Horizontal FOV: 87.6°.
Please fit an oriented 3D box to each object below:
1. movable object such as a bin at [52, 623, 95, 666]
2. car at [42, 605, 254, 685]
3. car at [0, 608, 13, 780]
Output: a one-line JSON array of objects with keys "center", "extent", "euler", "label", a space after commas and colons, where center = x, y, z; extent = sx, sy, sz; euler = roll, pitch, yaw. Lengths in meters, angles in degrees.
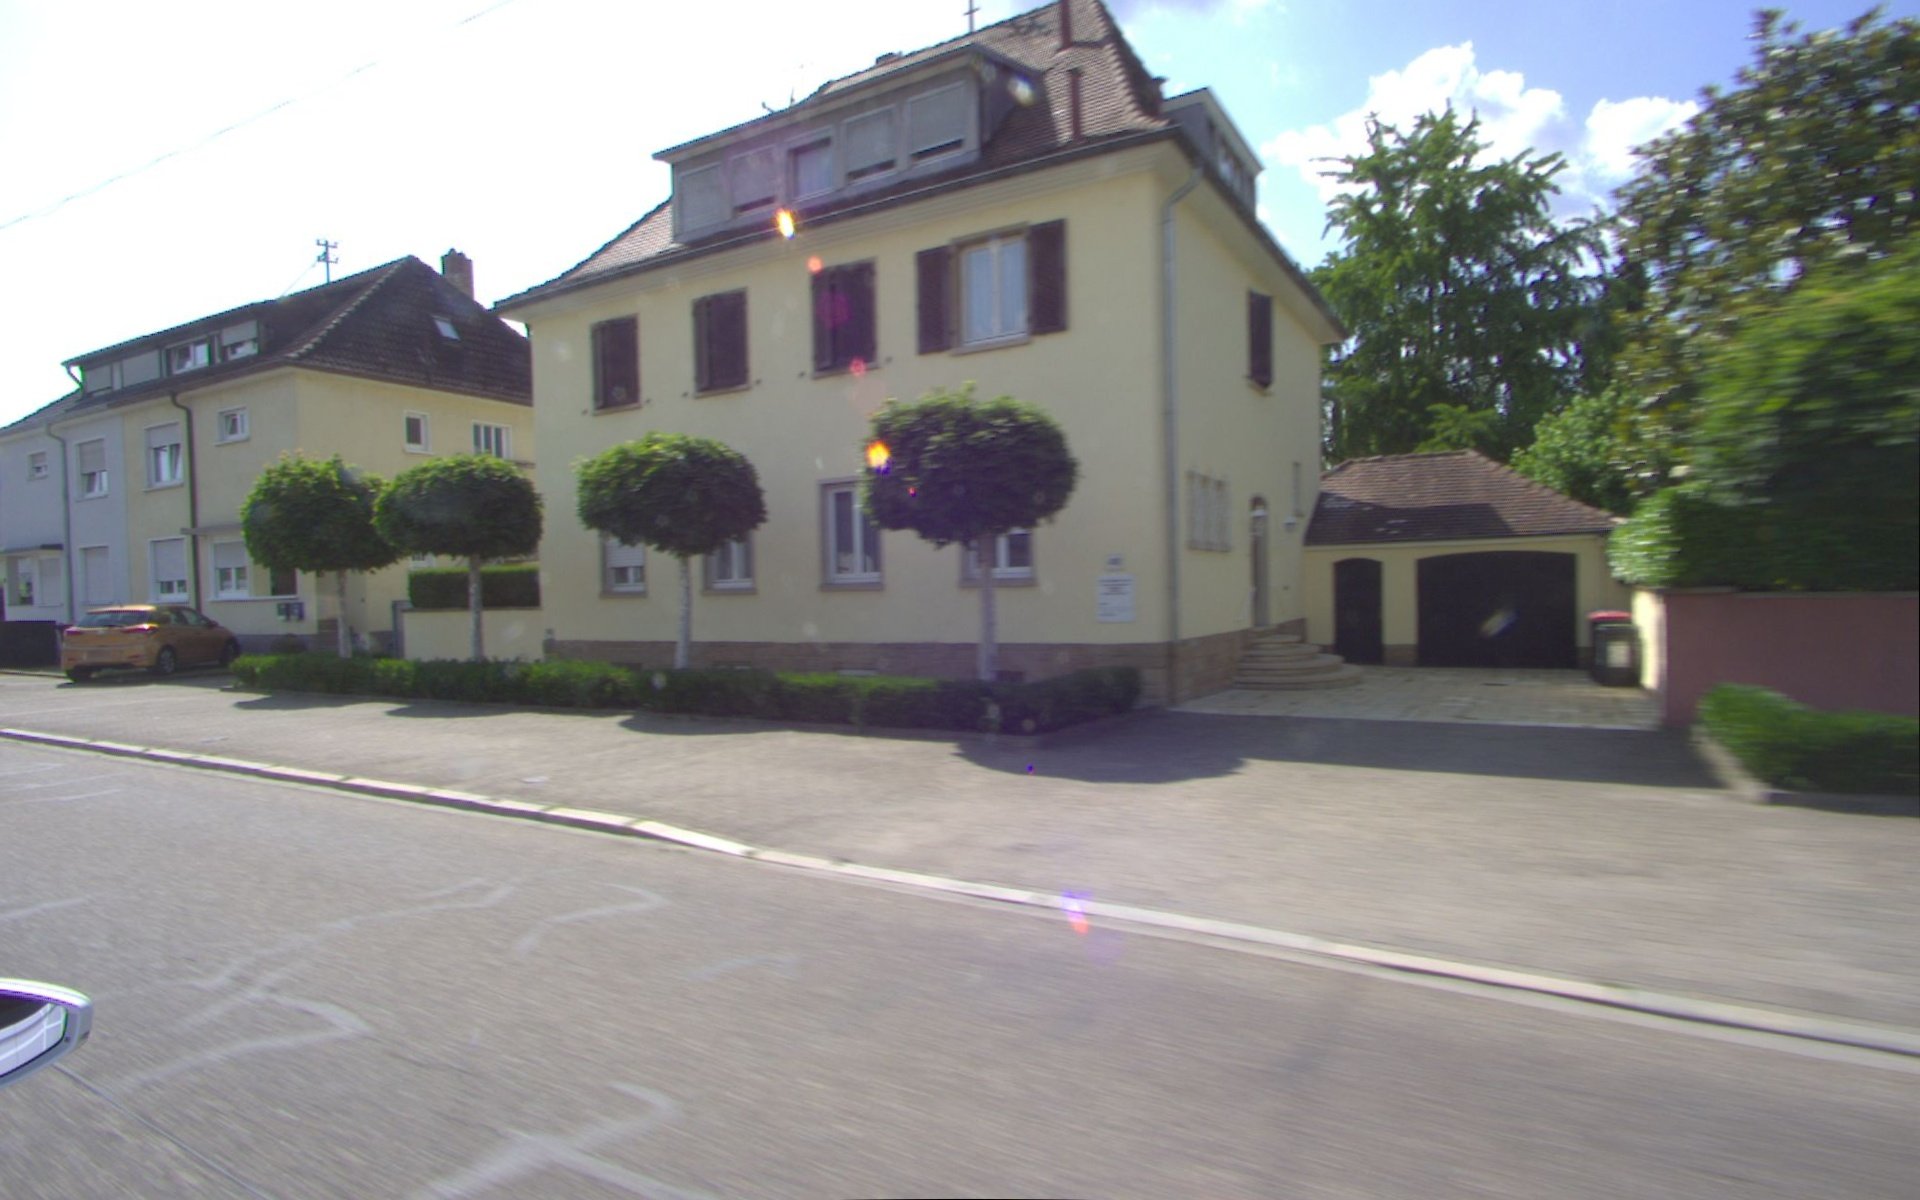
[{"center": [-22.638, 1.129, 25.566], "extent": [0.674, 1.061, 0.637], "euler": [0, 0, 28], "label": "movable object such as a bin"}, {"center": [-17.495, 0.889, 21.858], "extent": [1.880, 1.478, 4.087], "euler": [0, 1, -11], "label": "car"}, {"center": [-10.784, 0.851, 9.349], "extent": [4.472, 1.512, 1.850], "euler": [-1, -1, 33], "label": "car"}]
